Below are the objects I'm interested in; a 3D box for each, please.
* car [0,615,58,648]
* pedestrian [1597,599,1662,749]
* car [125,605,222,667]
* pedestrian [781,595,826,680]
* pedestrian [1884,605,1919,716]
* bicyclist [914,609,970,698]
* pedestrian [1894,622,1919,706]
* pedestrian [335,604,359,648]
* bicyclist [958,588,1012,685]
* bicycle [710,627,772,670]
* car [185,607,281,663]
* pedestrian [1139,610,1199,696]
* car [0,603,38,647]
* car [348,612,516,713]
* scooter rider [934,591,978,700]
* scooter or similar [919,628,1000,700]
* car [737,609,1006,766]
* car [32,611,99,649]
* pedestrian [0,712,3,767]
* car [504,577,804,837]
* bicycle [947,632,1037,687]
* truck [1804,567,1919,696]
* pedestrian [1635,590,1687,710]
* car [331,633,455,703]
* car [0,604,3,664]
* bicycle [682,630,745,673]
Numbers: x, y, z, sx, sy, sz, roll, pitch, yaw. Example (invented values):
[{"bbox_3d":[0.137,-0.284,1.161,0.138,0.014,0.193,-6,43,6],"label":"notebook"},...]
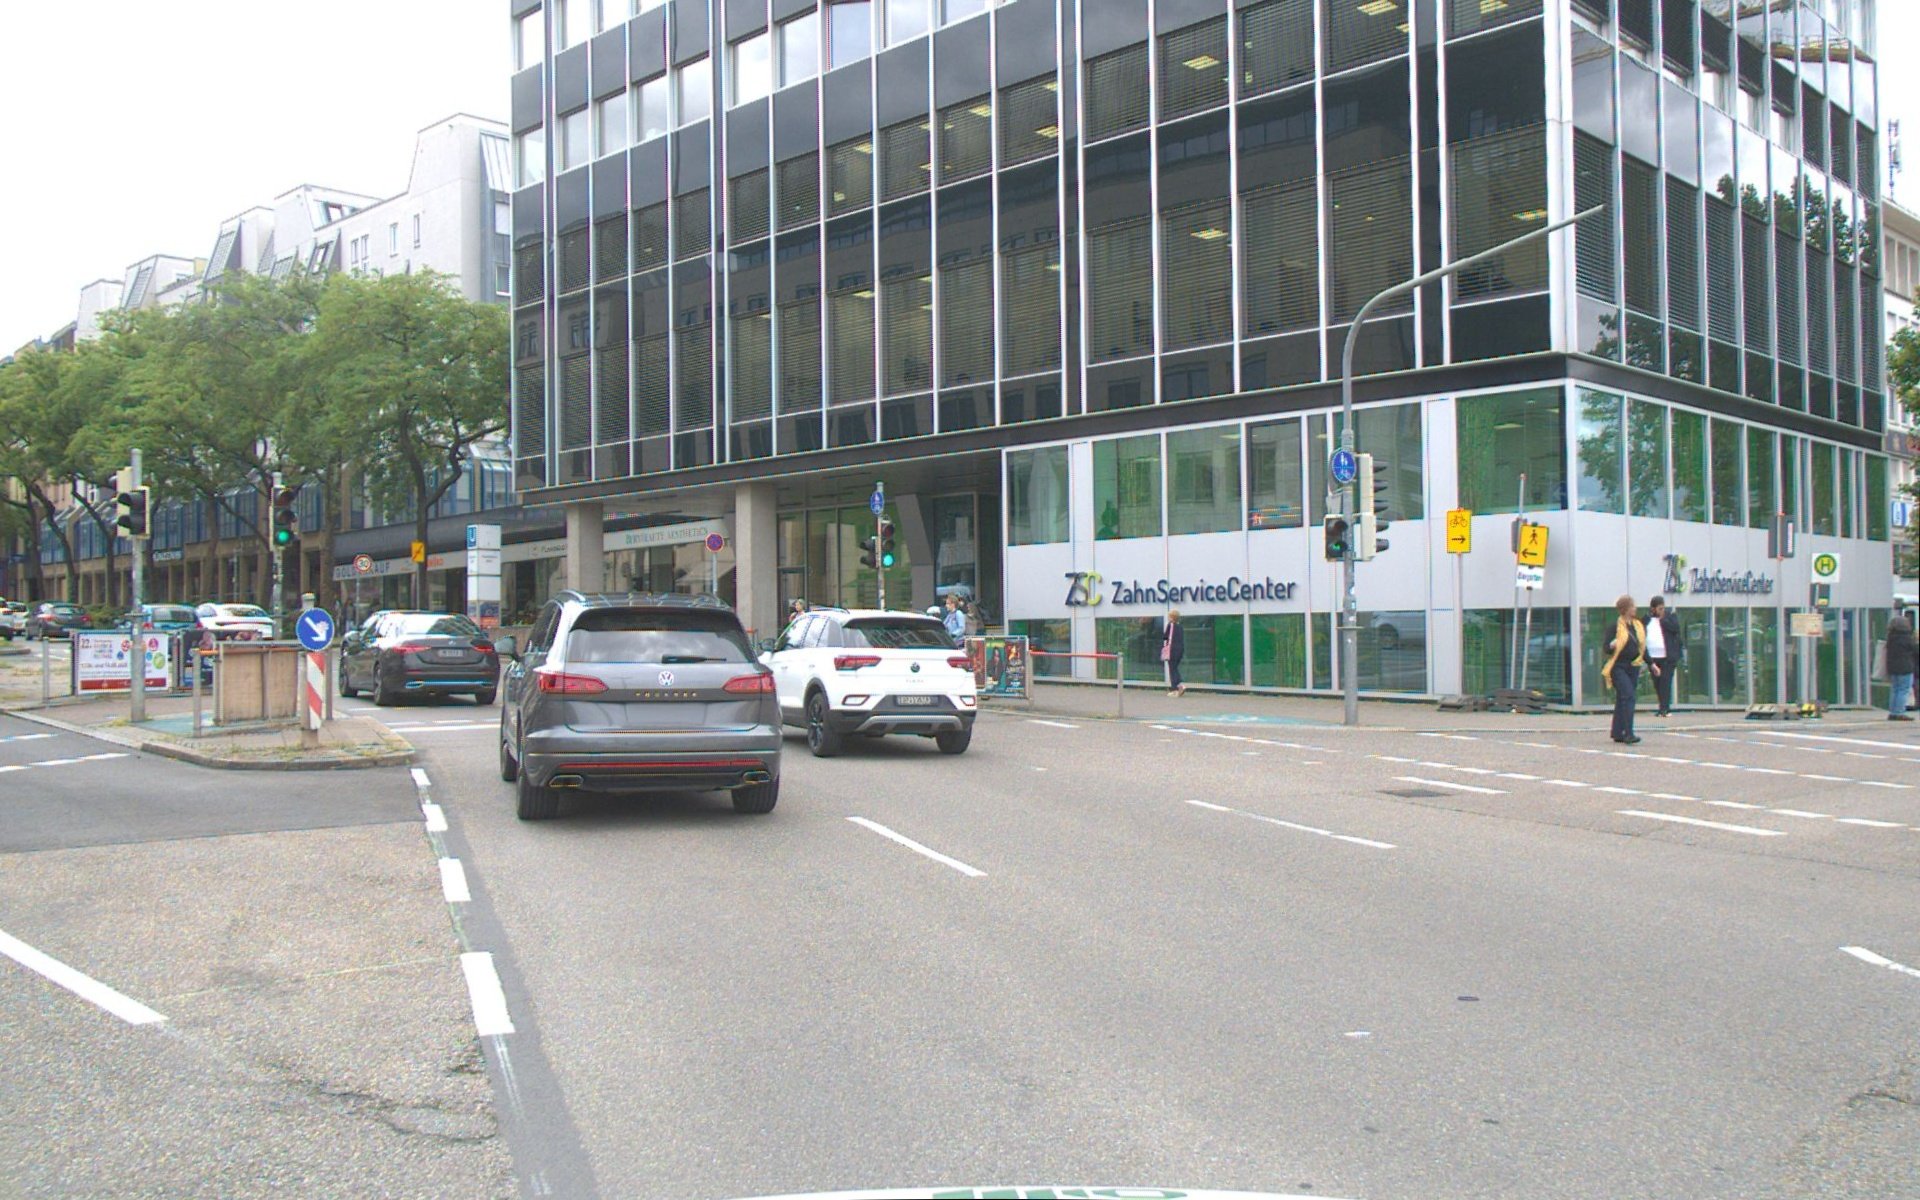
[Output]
[{"bbox_3d":[-42.555,1.410,75.245,2.041,1.443,4.275,-1,0,-38],"label":"car"},{"bbox_3d":[7.934,0.862,19.611,0.534,1.727,0.802,0,-1,9],"label":"pedestrian"},{"bbox_3d":[-20.761,0.928,43.601,1.816,1.544,3.723,-1,0,-34],"label":"car"},{"bbox_3d":[-3.274,0.786,34.591,0.740,1.741,0.523,-3,-2,44],"label":"pedestrian"},{"bbox_3d":[14.977,0.937,25.920,0.581,1.708,0.632,0,-1,-25],"label":"pedestrian"},{"bbox_3d":[-0.327,0.952,29.626,0.826,1.577,0.565,-1,-1,21],"label":"bicyclist"},{"bbox_3d":[20.507,1.358,35.277,0.859,1.777,0.843,-1,-1,41],"label":"pedestrian"},{"bbox_3d":[-25.214,1.050,68.026,0.925,1.784,0.593,-1,0,44],"label":"pedestrian"},{"bbox_3d":[0.493,0.704,32.406,0.799,1.878,0.672,-1,-1,40],"label":"bicyclist"},{"bbox_3d":[-5.594,1.221,42.225,1.453,1.066,0.713,0,-1,29],"label":"bicycle"},{"bbox_3d":[-21.420,1.008,48.656,1.818,1.544,3.718,-1,0,-37],"label":"car"},{"bbox_3d":[3.672,0.925,29.063,0.601,1.468,0.825,-1,0,-45],"label":"pedestrian"},{"bbox_3d":[-35.605,0.922,61.512,1.818,1.594,3.718,-1,0,-37],"label":"car"},{"bbox_3d":[-8.590,0.963,26.704,1.813,1.420,4.108,2,0,-29],"label":"car"},{"bbox_3d":[-0.066,0.773,28.299,0.628,1.840,0.594,-1,-1,8],"label":"scooter rider"},{"bbox_3d":[-0.006,1.089,28.288,1.291,1.196,0.594,-1,-1,8],"label":"scooter or similar"},{"bbox_3d":[-1.123,0.905,18.963,1.774,1.572,3.904,-1,0,-25],"label":"car"},{"bbox_3d":[-34.388,1.145,63.545,1.817,1.387,3.720,-1,0,-35],"label":"car"},{"bbox_3d":[-9.856,0.740,16.147,0.711,1.821,0.625,-4,3,-41],"label":"pedestrian"},{"bbox_3d":[-2.640,0.711,13.428,1.939,1.725,4.205,-1,0,-17],"label":"car"},{"bbox_3d":[0.619,1.155,32.276,1.735,1.024,0.677,-1,0,41],"label":"bicycle"},{"bbox_3d":[25.119,0.844,43.563,8.125,3.118,2.310,1,-2,-41],"label":"truck"},{"bbox_3d":[10.509,0.741,24.787,0.624,1.779,0.589,0,-1,33],"label":"pedestrian"},{"bbox_3d":[-13.530,1.584,39.337,1.817,1.457,4.099,2,0,-34],"label":"car"},{"bbox_3d":[-26.068,0.830,40.484,4.507,1.484,1.860,1,-1,-33],"label":"car"},{"bbox_3d":[-6.216,1.294,41.683,1.453,1.066,0.713,0,-1,29],"label":"bicycle"}]
